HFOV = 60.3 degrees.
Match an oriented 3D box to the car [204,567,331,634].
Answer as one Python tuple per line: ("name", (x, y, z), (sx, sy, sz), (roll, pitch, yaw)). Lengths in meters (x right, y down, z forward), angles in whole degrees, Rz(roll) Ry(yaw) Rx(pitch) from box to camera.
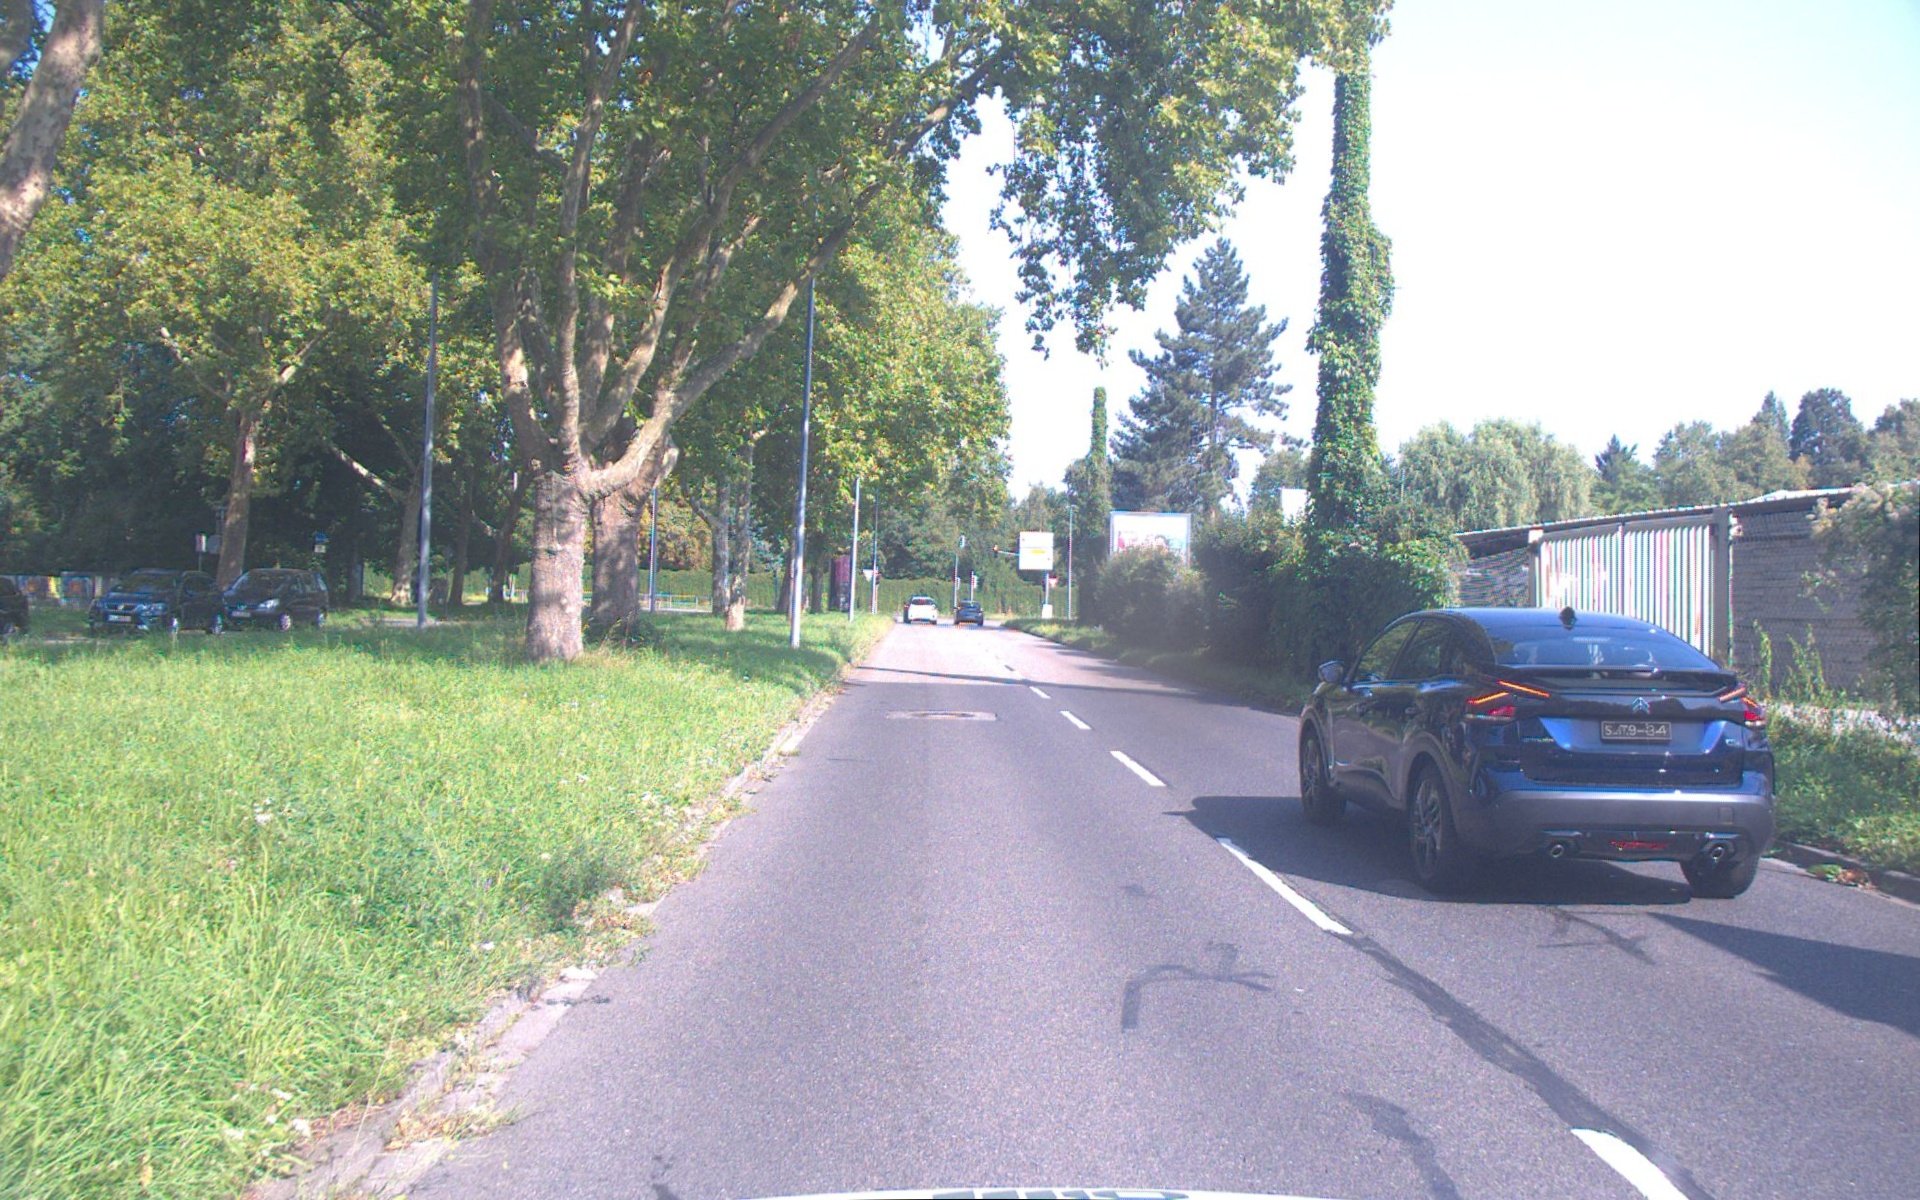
("car", (-19.649, 0.009, 47.144), (1.665, 1.762, 4.658), (2, 0, -1))

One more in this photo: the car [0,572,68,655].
("car", (-18.703, 0.228, 30.884), (1.665, 1.534, 4.540), (1, 0, -1))

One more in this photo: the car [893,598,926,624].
("car", (-3.084, 0.660, 101.969), (1.652, 1.487, 3.851), (2, 0, 3))

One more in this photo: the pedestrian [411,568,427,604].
("pedestrian", (-26.289, -0.671, 80.342), (0.532, 1.720, 0.657), (2, 0, -5))

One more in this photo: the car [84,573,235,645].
("car", (-18.977, 0.199, 39.412), (1.665, 1.595, 3.999), (1, 0, -1))

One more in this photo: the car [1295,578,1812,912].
("car", (3.342, 0.716, 10.230), (1.611, 1.616, 4.254), (1, 0, -1))

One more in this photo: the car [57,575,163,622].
("car", (-33.750, -0.055, 65.801), (1.661, 1.756, 4.390), (2, 0, 4))

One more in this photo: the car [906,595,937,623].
("car", (-2.144, 0.481, 93.520), (1.653, 1.487, 3.999), (2, 0, 0))

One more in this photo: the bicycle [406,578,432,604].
("bicycle", (-26.278, -0.415, 80.346), (0.533, 1.220, 2.758), (2, 0, -5))

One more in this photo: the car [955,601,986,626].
("car", (0.632, 0.817, 102.404), (1.761, 1.425, 3.998), (2, 0, -2))
